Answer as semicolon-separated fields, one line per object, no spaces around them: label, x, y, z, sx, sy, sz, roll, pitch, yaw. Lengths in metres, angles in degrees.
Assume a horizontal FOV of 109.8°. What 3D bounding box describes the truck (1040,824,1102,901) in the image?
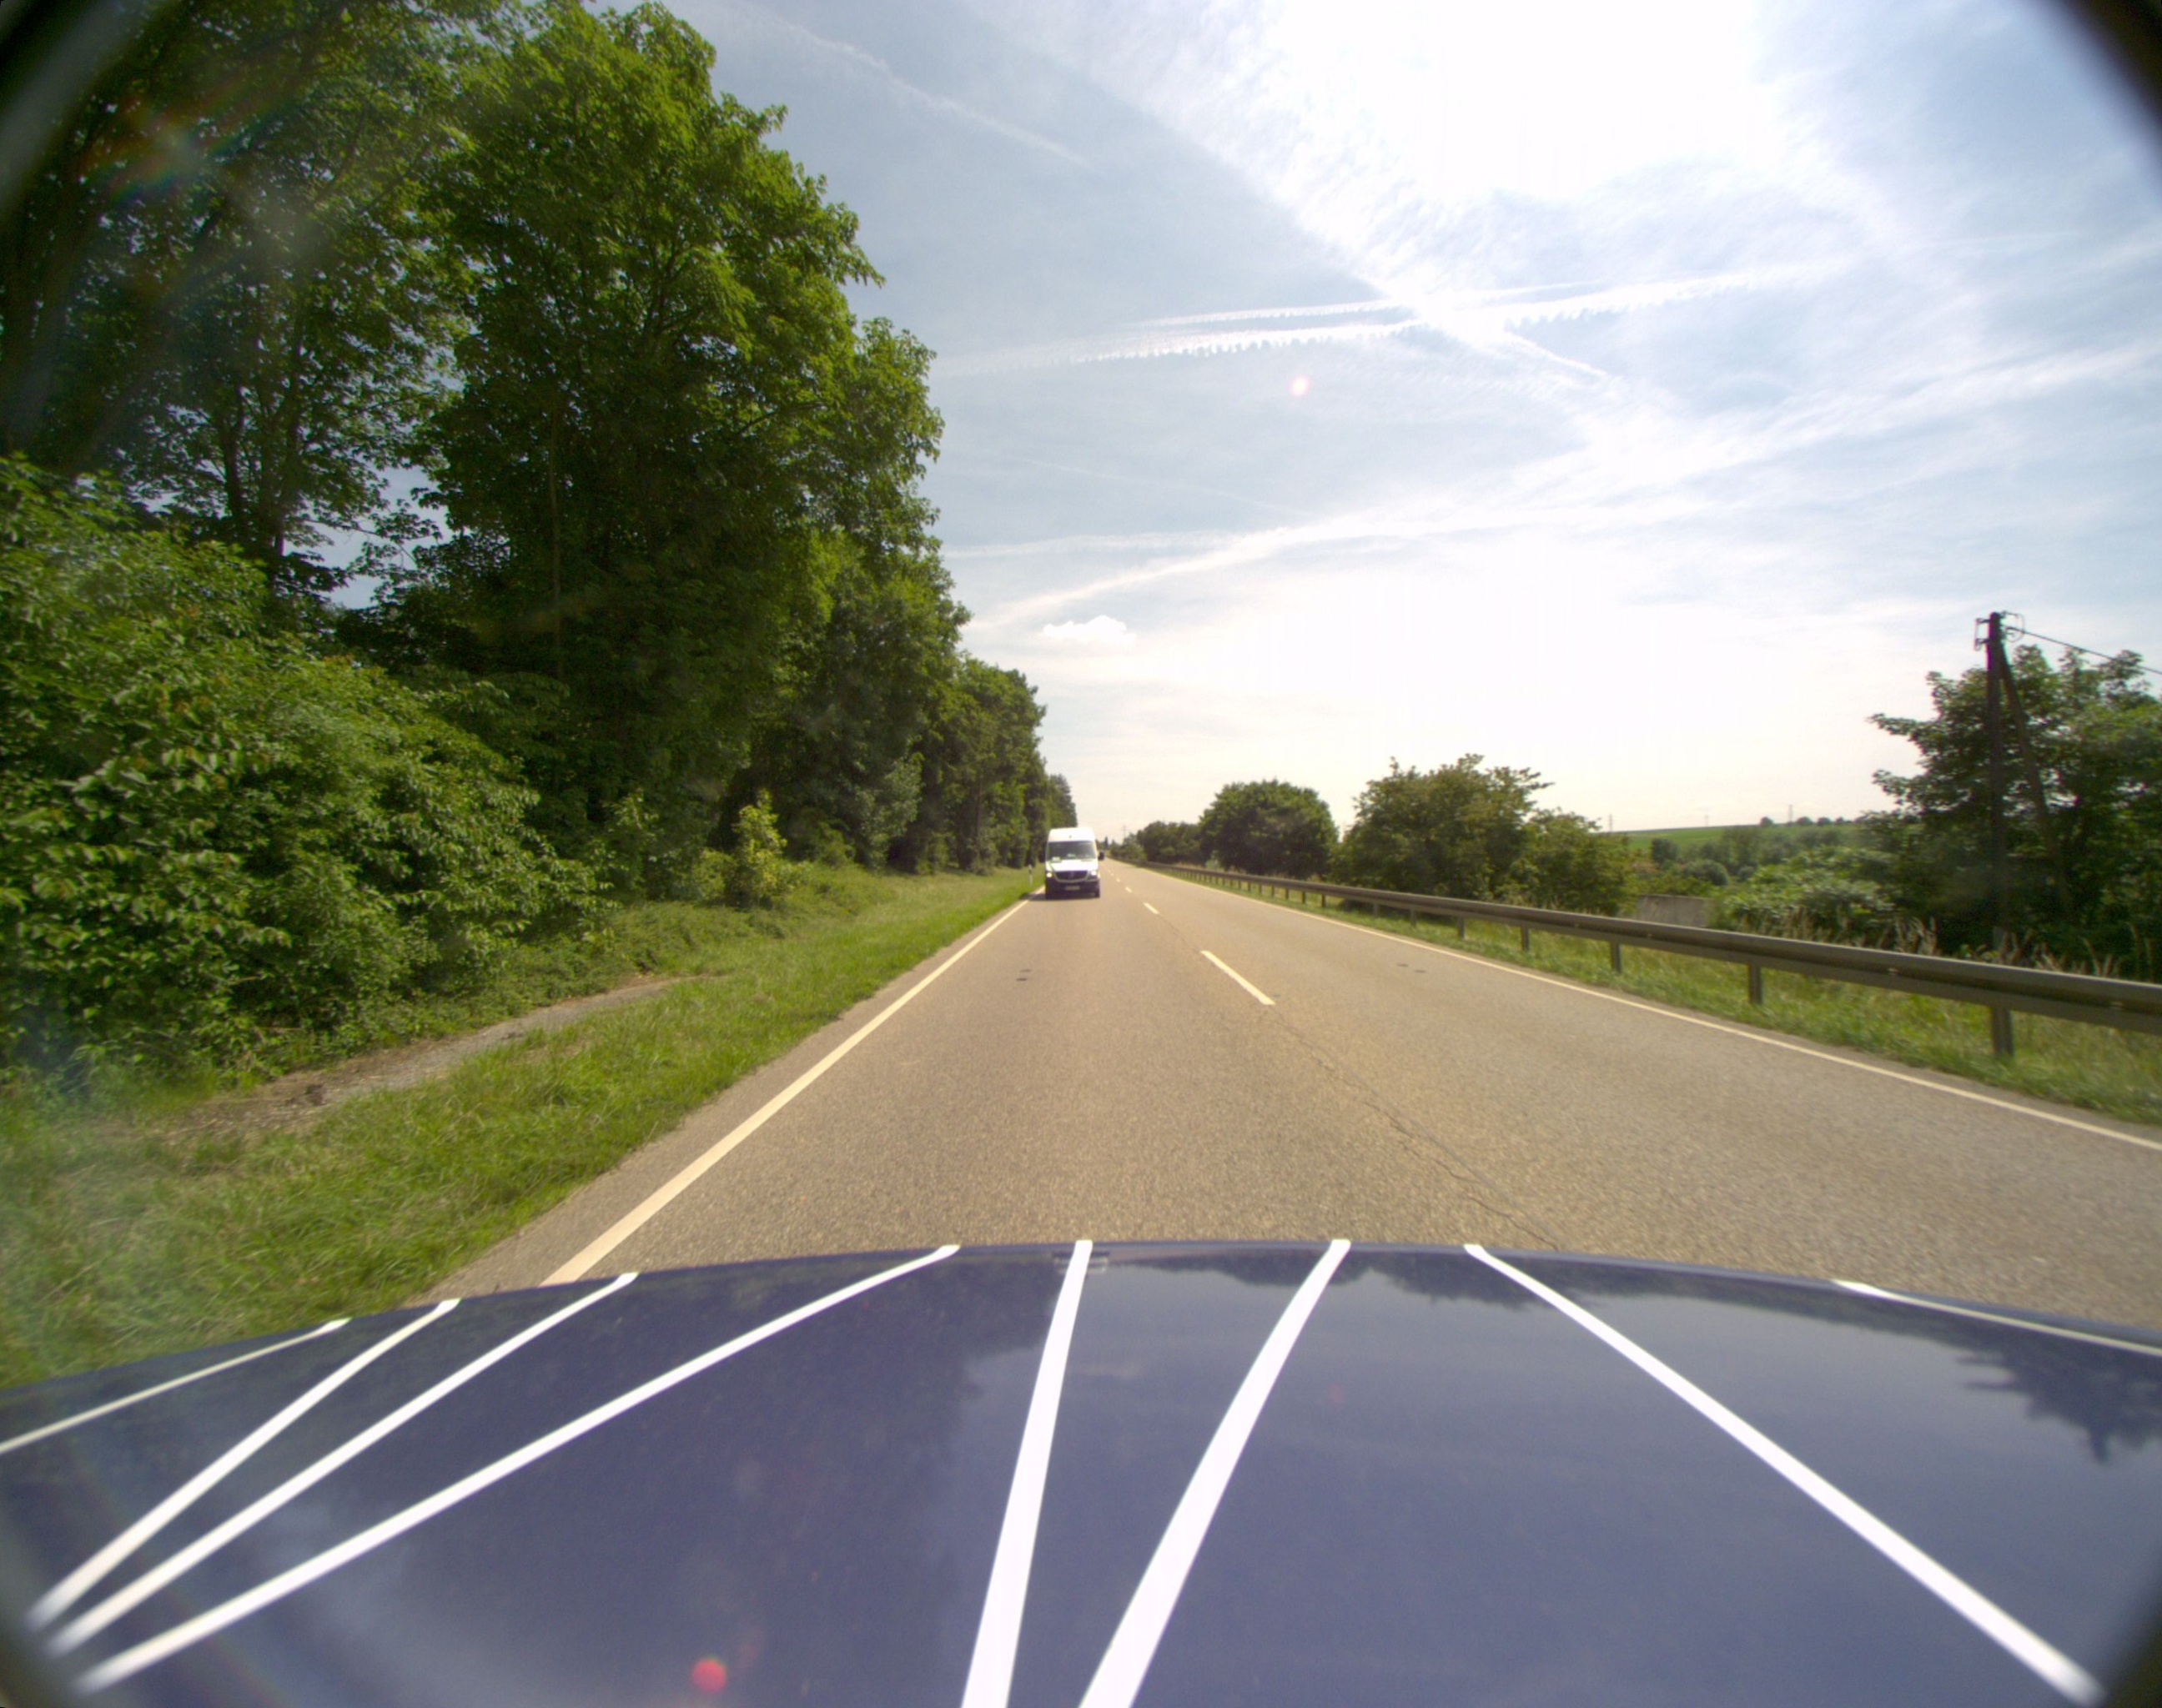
truck;-0.259;0.284;29.731;2.023;2.568;7.225;-2;0;1

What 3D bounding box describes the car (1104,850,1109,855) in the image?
car;8.368;-0.495;247.335;1.561;1.454;3.550;1;0;2
